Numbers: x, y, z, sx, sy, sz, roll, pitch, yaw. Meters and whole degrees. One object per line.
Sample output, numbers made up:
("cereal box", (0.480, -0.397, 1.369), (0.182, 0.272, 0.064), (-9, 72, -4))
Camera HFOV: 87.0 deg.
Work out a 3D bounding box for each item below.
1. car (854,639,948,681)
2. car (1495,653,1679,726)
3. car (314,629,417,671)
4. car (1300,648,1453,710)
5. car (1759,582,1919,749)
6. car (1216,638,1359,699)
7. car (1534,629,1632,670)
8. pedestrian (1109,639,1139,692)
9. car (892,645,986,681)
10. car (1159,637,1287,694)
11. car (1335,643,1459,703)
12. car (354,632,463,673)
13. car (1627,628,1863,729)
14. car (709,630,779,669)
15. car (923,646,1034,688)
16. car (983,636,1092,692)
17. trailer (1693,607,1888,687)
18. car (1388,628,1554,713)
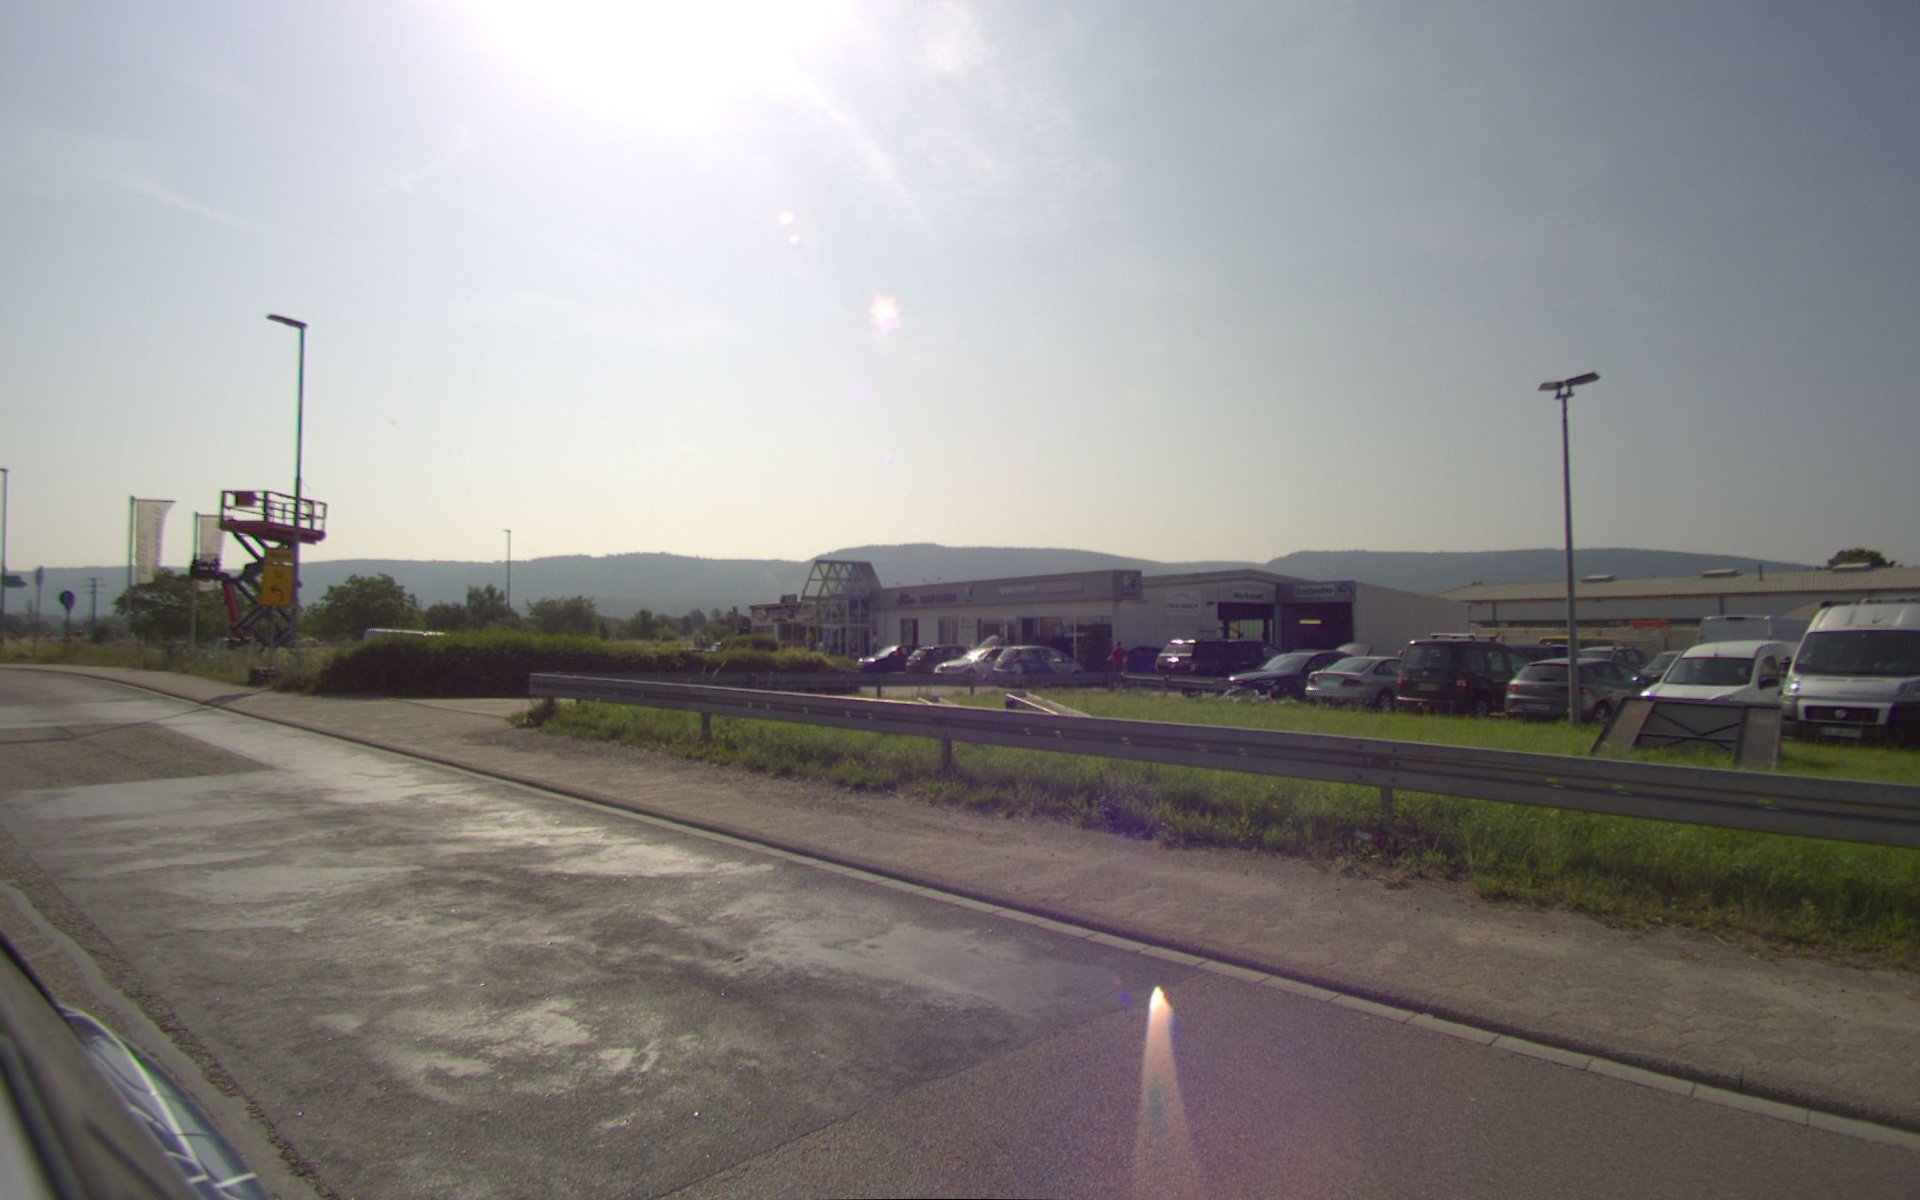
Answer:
("car", (-2.786, 2.843, 47.837), (4.026, 1.887, 1.822), (2, -3, -25))
("car", (12.754, 1.779, 20.548), (3.695, 1.318, 1.811), (3, -3, -34))
("car", (-28.918, 2.438, 49.257), (4.050, 1.952, 1.812), (1, -3, 8))
("car", (10.328, 1.931, 25.063), (3.695, 1.399, 1.734), (3, -3, -34))
("car", (15.707, 1.079, 16.453), (5.313, 2.391, 2.301), (2, -4, -29))
("car", (8.868, 1.819, 27.296), (3.934, 1.533, 1.688), (3, -4, -36))
("car", (23.375, 1.862, 37.944), (3.604, 1.475, 1.768), (3, -3, -33))
("pedestrian", (5.667, 2.248, 34.918), (0.983, 1.767, 0.837), (-1, 0, 12))
("car", (-0.880, 2.668, 42.820), (3.604, 1.475, 1.768), (3, -3, -33))
("car", (7.656, 1.889, 29.359), (3.627, 1.533, 1.688), (3, -4, -36))
("car", (12.821, 2.119, 29.648), (3.489, 1.624, 1.759), (3, -3, -34))
("car", (-28.878, 2.742, 53.046), (4.761, 2.029, 1.995), (1, -3, 8))
("car", (14.476, 1.431, 18.626), (4.327, 1.676, 1.812), (2, -4, -29))
("car", (-11.796, 2.707, 55.143), (1.968, 2.029, 4.164), (3, -4, -39))
("car", (0.753, 2.629, 39.961), (4.088, 1.547, 1.888), (3, -4, -36))
("car", (2.925, 2.358, 38.108), (3.711, 1.809, 1.938), (-1, 0, -35))
("trailer", (24.142, 1.417, 29.399), (5.667, 2.141, 2.224), (2, -3, -27))
("car", (11.568, 1.574, 22.891), (3.695, 1.764, 1.753), (3, -3, -34))
